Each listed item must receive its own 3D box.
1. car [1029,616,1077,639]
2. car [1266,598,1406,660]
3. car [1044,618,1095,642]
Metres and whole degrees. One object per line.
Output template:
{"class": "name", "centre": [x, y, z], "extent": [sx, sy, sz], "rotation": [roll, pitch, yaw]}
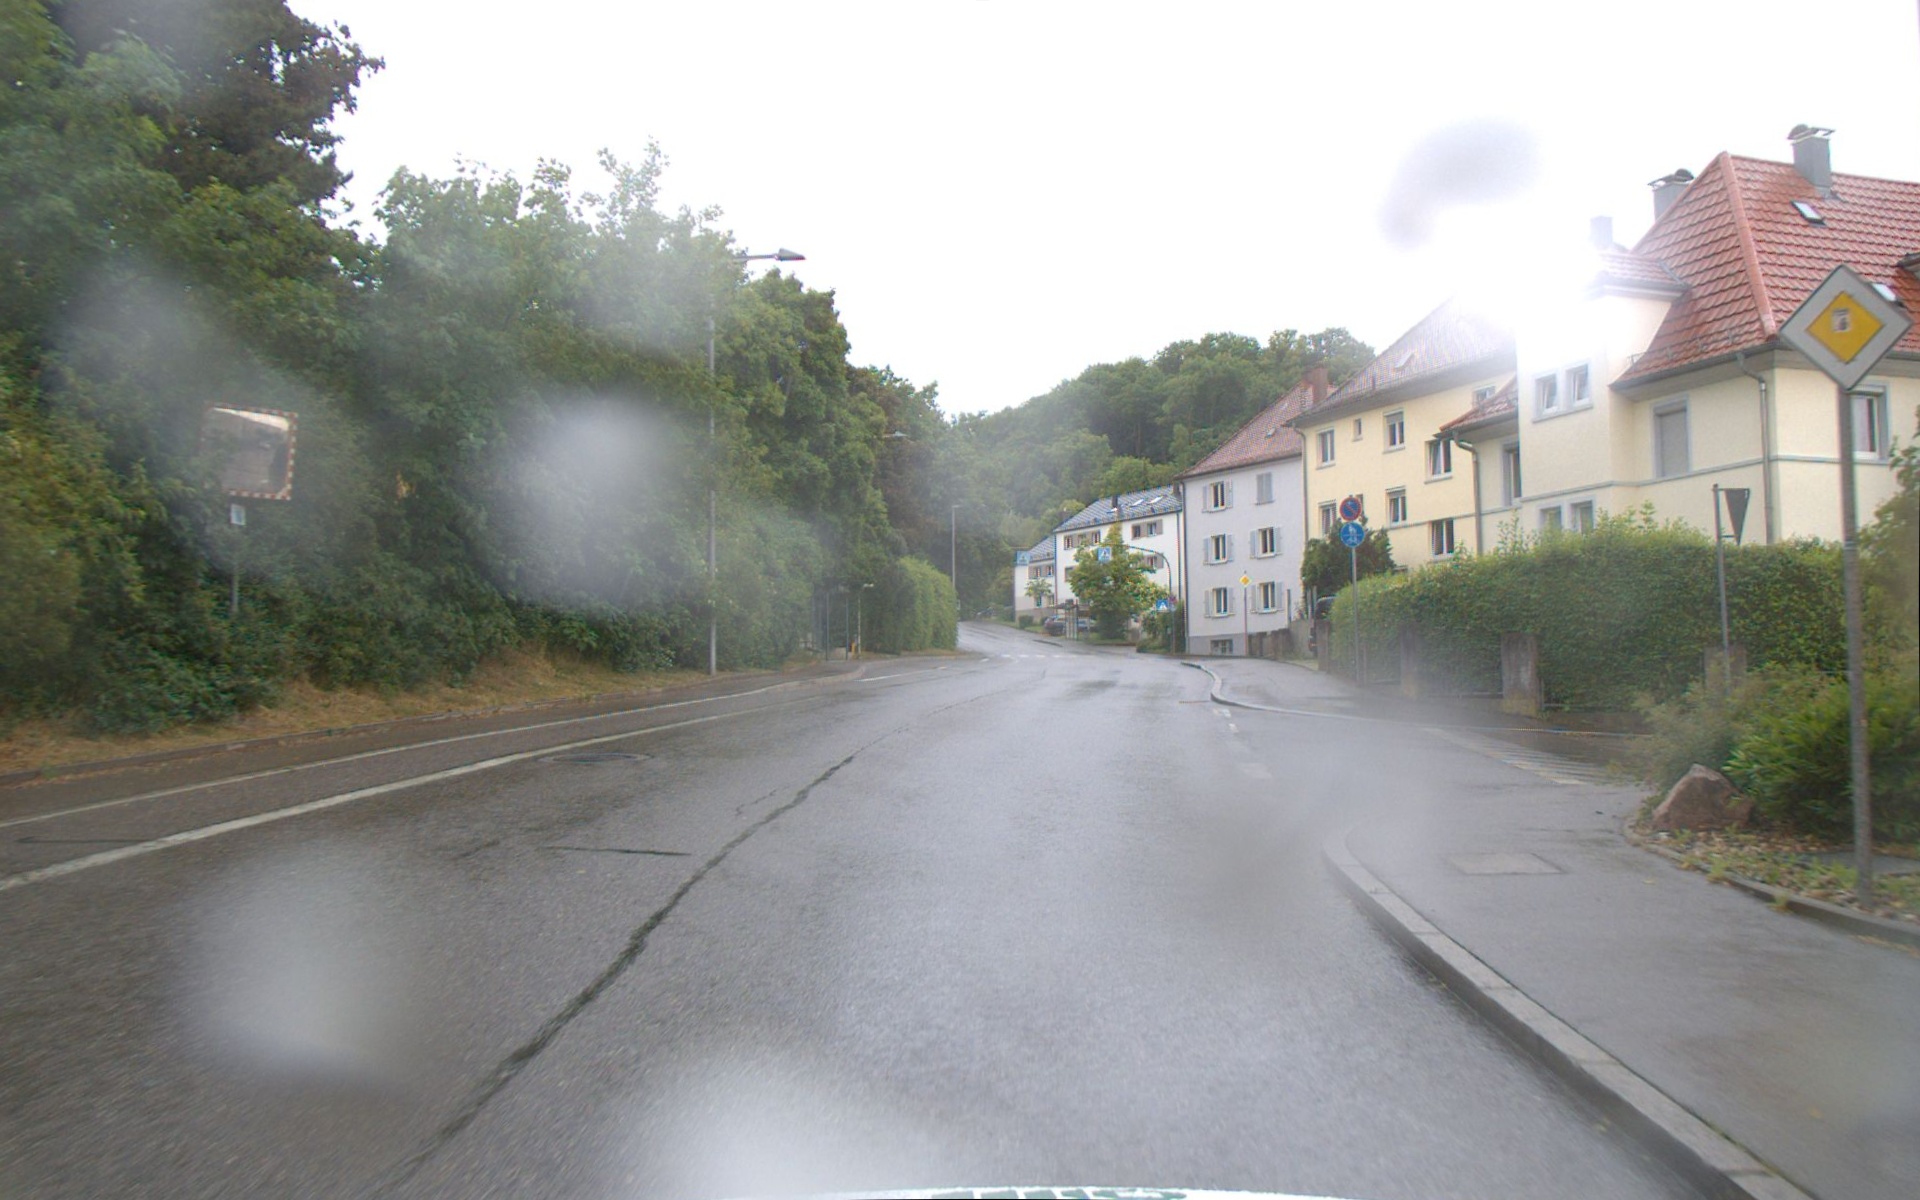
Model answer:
{"class": "car", "centre": [7.937, 2.333, 141.354], "extent": [3.908, 1.803, 1.998], "rotation": [2, -3, -4]}
{"class": "car", "centre": [12.076, 0.962, 53.181], "extent": [3.918, 1.803, 1.993], "rotation": [2, -3, -13]}
{"class": "car", "centre": [8.985, 2.466, 135.945], "extent": [3.908, 1.803, 1.998], "rotation": [2, -3, -4]}
